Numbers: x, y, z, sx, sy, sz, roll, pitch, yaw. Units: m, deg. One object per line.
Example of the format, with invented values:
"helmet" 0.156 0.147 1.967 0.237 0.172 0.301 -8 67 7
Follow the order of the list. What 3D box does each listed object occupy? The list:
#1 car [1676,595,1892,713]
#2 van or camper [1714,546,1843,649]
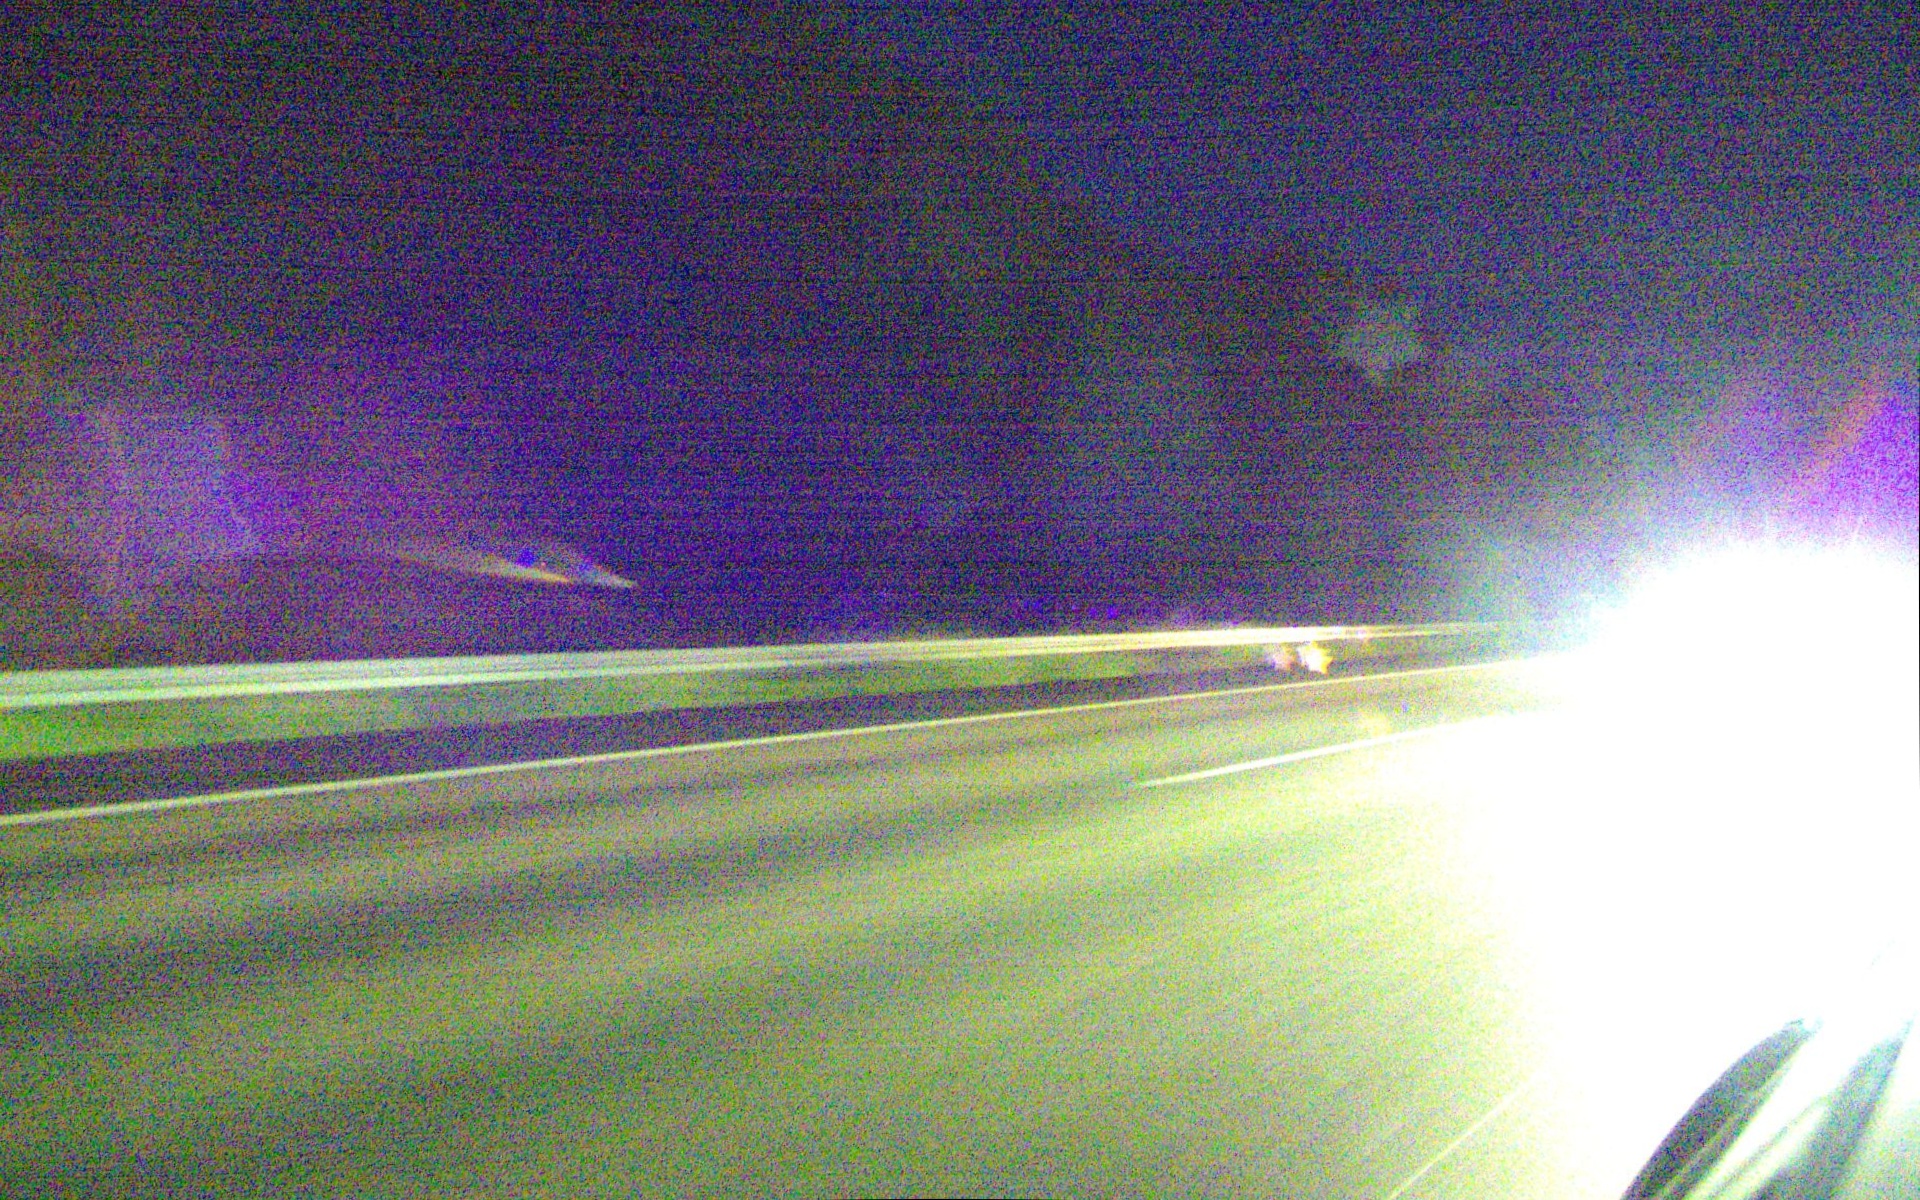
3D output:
"car" 11.660 0.663 14.230 4.152 1.431 1.689 0 -1 -41
"van or camper" 24.970 -0.091 30.763 6.690 2.806 2.209 0 0 -43
